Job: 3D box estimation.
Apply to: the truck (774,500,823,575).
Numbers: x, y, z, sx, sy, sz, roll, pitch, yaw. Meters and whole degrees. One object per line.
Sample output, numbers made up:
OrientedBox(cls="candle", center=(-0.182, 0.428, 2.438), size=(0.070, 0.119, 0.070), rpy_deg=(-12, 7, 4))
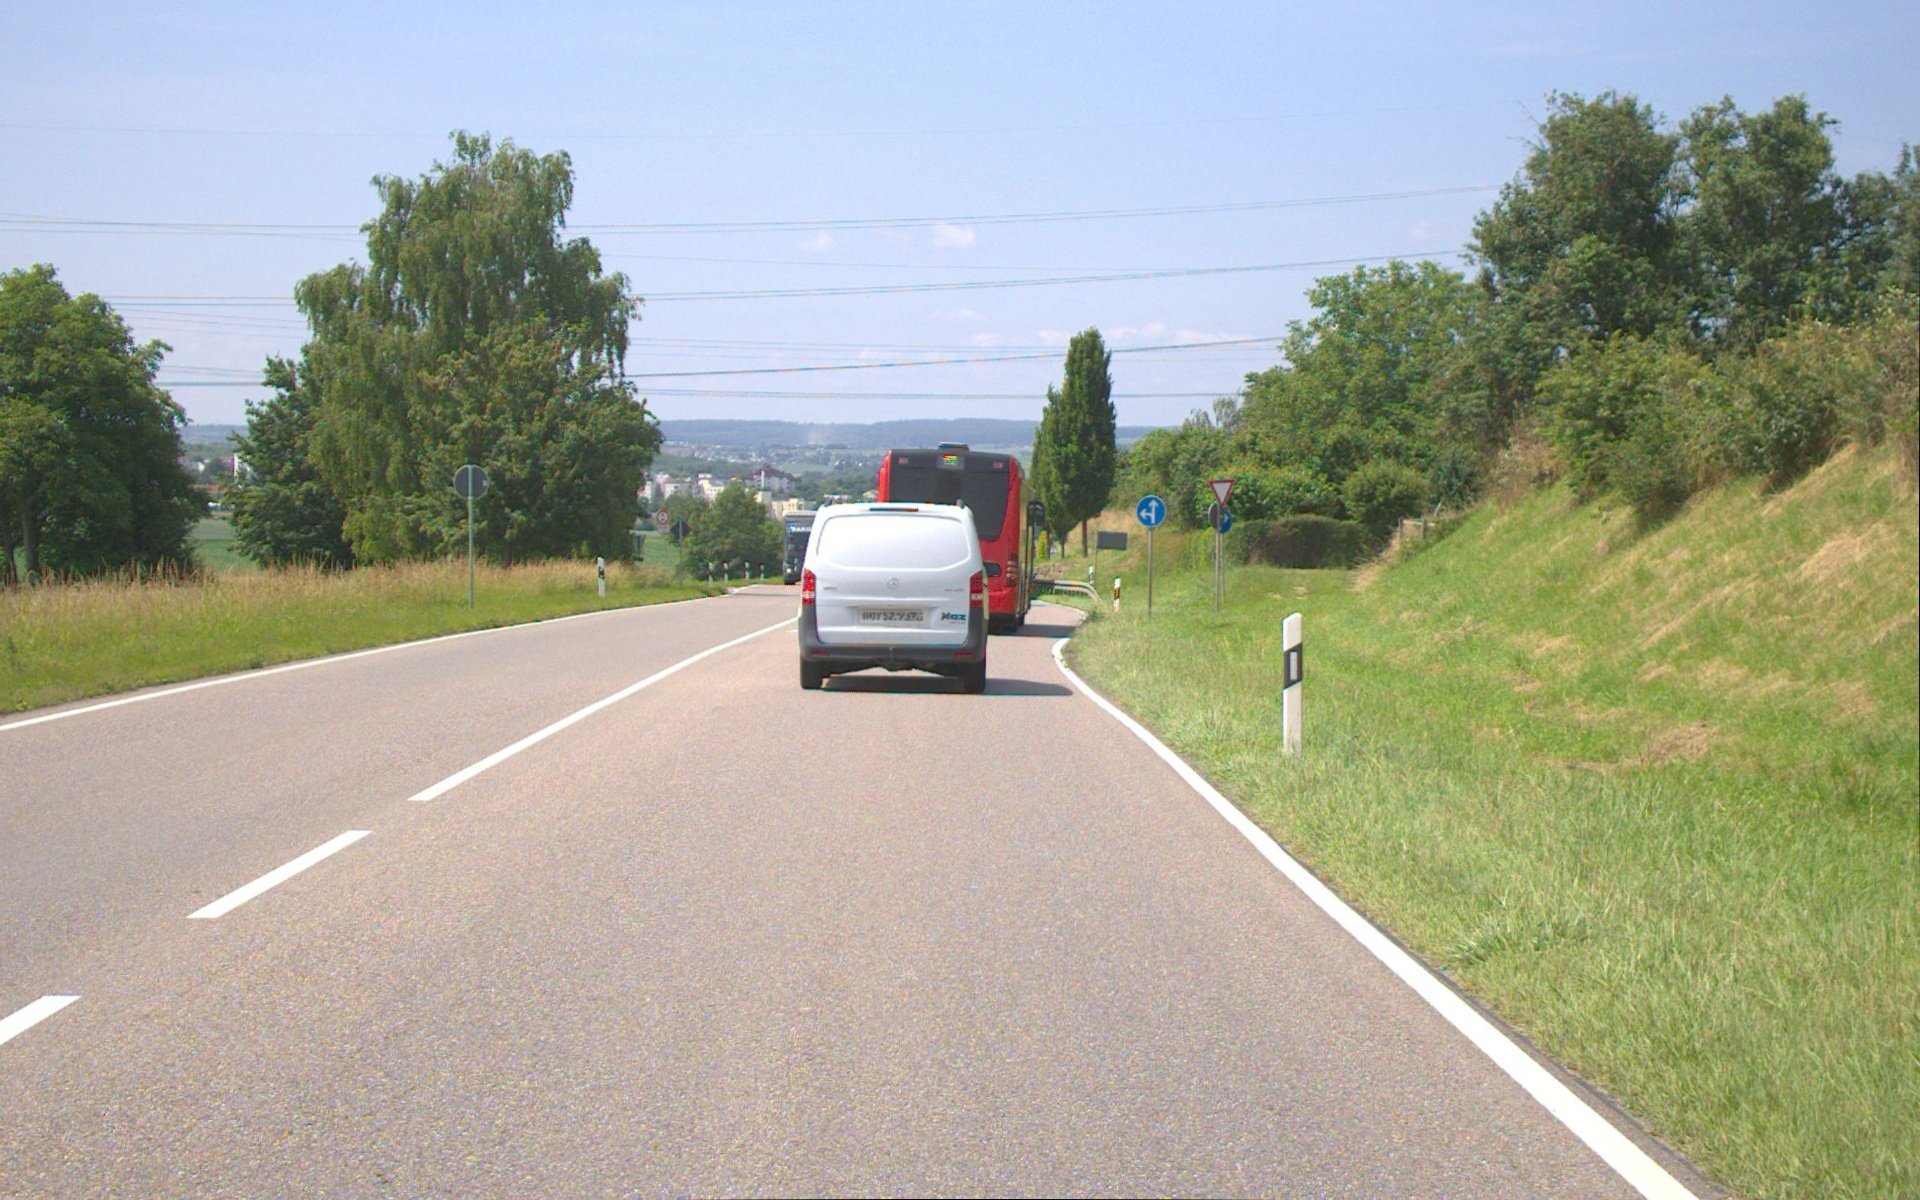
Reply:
OrientedBox(cls="truck", center=(-9.036, -3.481, 192.269), size=(2.585, 4.090, 5.442), rpy_deg=(1, 1, -3))

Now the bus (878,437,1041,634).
OrientedBox(cls="bus", center=(0.005, -1.395, 66.100), size=(2.747, 3.341, 13.223), rpy_deg=(-1, 2, 0))

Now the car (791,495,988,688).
OrientedBox(cls="car", center=(-0.693, -0.124, 35.508), size=(1.923, 1.883, 4.000), rpy_deg=(0, 1, 0))
